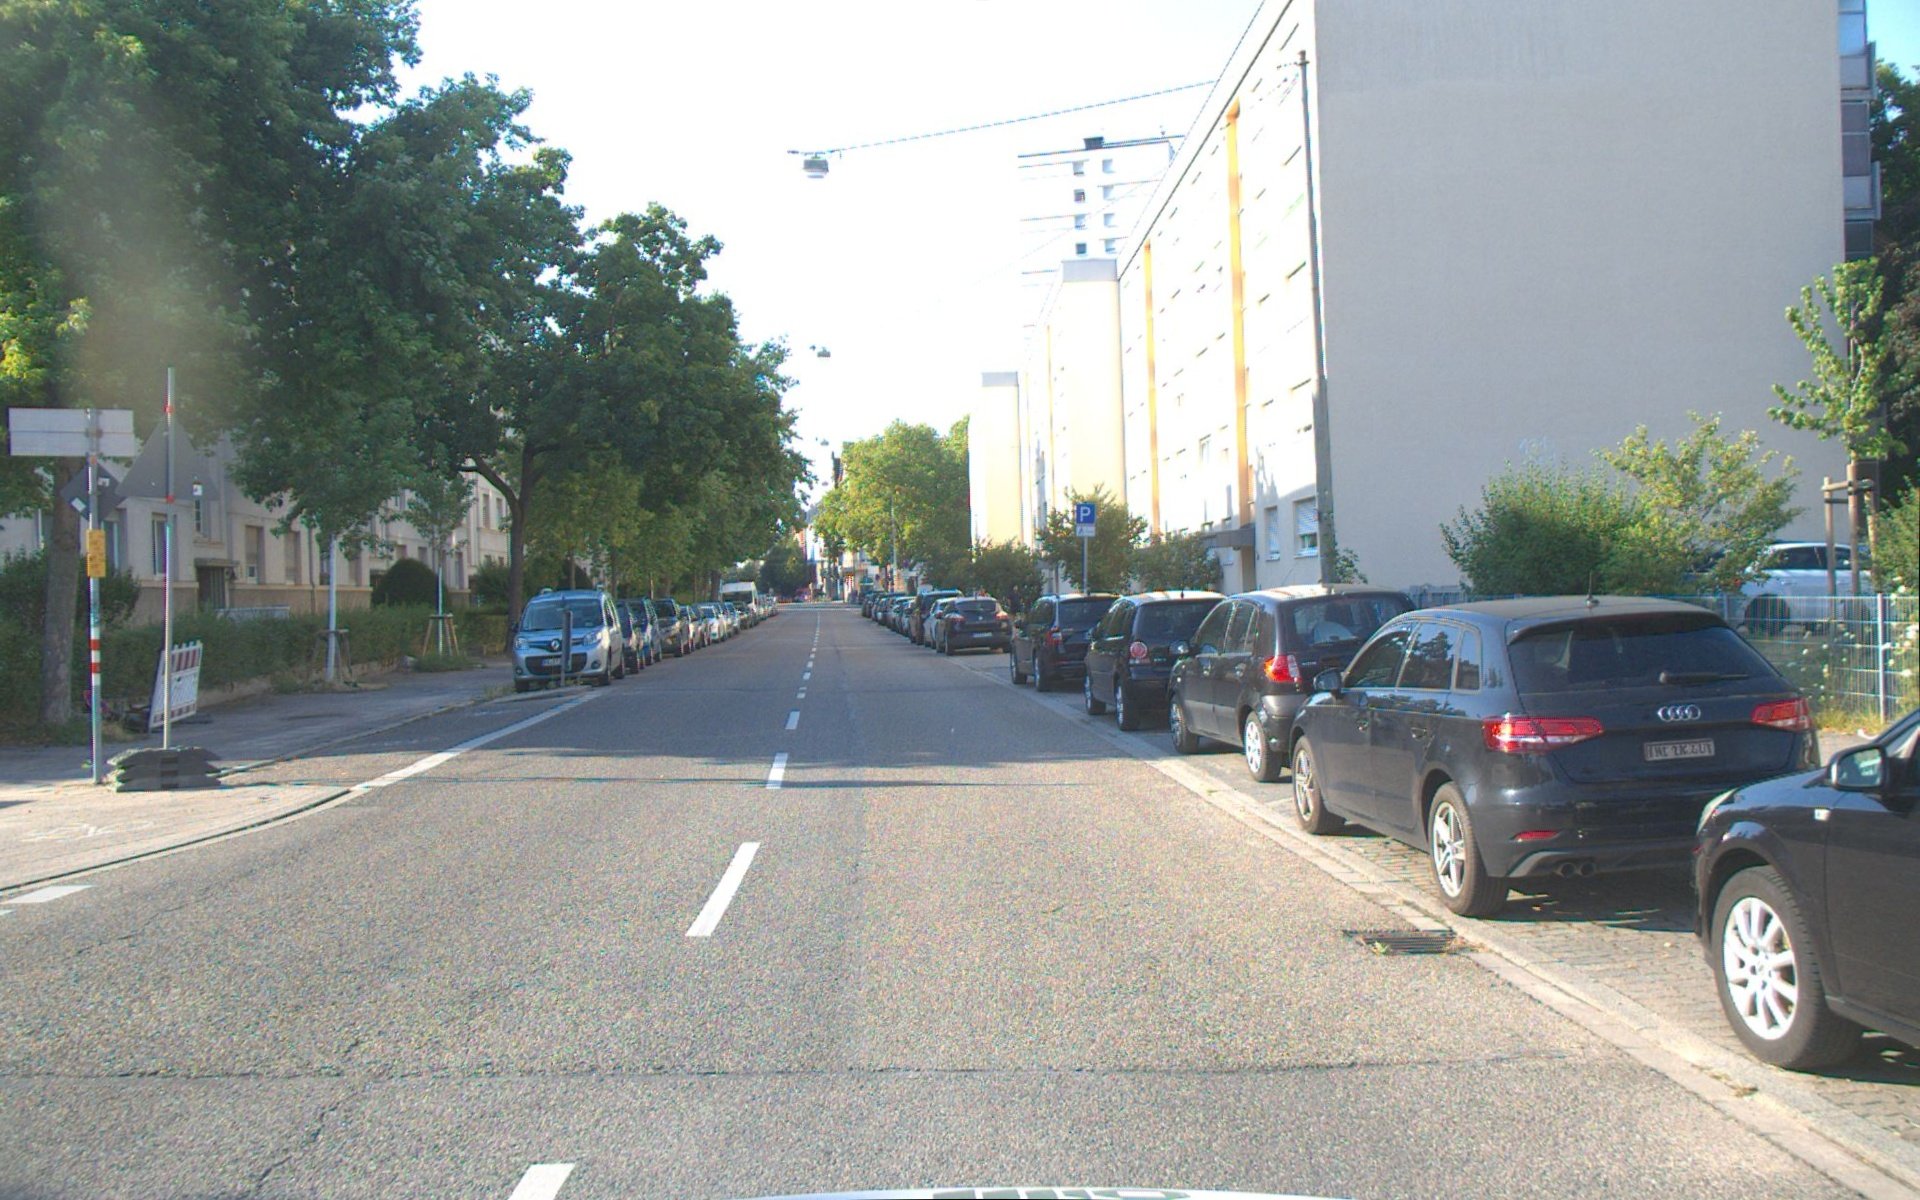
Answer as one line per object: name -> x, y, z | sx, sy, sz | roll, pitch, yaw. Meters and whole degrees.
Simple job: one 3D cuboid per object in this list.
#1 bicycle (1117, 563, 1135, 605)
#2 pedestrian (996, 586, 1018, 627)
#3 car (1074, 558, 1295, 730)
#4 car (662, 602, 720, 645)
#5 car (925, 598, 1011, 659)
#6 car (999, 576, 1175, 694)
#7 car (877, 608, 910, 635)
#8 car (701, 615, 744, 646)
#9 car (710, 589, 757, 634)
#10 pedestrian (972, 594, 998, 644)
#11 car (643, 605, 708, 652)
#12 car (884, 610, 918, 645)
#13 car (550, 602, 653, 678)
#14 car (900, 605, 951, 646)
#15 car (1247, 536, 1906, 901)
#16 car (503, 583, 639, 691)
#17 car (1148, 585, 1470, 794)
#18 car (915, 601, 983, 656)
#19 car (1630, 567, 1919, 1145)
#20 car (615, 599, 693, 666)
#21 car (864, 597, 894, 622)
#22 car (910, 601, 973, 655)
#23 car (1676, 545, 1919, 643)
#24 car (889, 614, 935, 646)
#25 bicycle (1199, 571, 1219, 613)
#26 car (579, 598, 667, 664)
bicycle -> 4.944, -0.457, 49.304 | 0.326, 1.213, 1.239 | 0, -1, -5
pedestrian -> 2.006, 0.272, 70.748 | 0.751, 1.687, 0.536 | -4, -1, -5
car -> 2.529, 0.504, 19.736 | 1.863, 1.810, 4.579 | 0, -1, -2
car -> -10.319, 0.901, 63.628 | 1.966, 1.579, 4.465 | 0, -1, -7
car -> 0.166, 0.764, 44.627 | 1.764, 1.533, 4.614 | -1, -1, -7
car -> 1.932, 0.548, 26.745 | 1.850, 1.588, 4.939 | -4, 0, -7
car -> -3.803, 1.243, 94.261 | 1.801, 1.528, 4.169 | 0, -1, -4
car -> -10.944, 1.387, 76.372 | 1.837, 1.379, 4.646 | 0, -1, -7
car -> -12.986, 0.677, 95.288 | 2.312, 2.488, 6.158 | 0, -1, -5
pedestrian -> 0.960, 0.729, 64.032 | 0.871, 1.924, 1.278 | 0, -1, -5
car -> -9.321, 0.943, 54.455 | 1.837, 1.459, 4.796 | 0, -1, -7
car -> -3.194, 1.495, 89.700 | 1.800, 1.803, 3.976 | -2, -1, -2
car -> -7.920, 0.877, 36.841 | 1.837, 1.579, 3.994 | 0, -1, -7
car -> -1.440, 1.049, 67.375 | 1.737, 1.479, 3.996 | -4, -1, -5
car -> 3.108, 0.551, 9.609 | 1.863, 1.556, 4.808 | -1, -1, -2
car -> -7.396, 0.708, 31.866 | 1.805, 1.930, 4.483 | 0, -1, -4
car -> 2.909, 0.662, 14.636 | 1.619, 1.461, 3.955 | -2, 2, -6
car -> -0.390, 0.872, 50.542 | 1.737, 1.534, 3.996 | -2, -1, -5
car -> 3.442, 0.640, 3.903 | 1.707, 1.567, 4.437 | -3, -1, -2
car -> -8.637, 0.920, 47.027 | 1.837, 1.790, 4.682 | 0, -1, -7
car -> -5.763, 0.642, 117.616 | 1.861, 1.680, 4.337 | -3, 0, -6
car -> -0.667, 0.938, 55.626 | 1.737, 1.707, 4.641 | -1, -1, -5
car -> 13.862, -0.071, 26.124 | 4.386, 1.481, 1.732 | 0, -1, -2
car -> -2.280, 1.419, 77.864 | 1.837, 1.468, 3.994 | 0, -1, -7
bicycle -> 7.473, -0.229, 49.592 | 0.326, 1.213, 1.239 | 0, -1, -5
car -> -8.493, 0.789, 41.968 | 1.837, 1.579, 3.994 | 0, -1, -7
